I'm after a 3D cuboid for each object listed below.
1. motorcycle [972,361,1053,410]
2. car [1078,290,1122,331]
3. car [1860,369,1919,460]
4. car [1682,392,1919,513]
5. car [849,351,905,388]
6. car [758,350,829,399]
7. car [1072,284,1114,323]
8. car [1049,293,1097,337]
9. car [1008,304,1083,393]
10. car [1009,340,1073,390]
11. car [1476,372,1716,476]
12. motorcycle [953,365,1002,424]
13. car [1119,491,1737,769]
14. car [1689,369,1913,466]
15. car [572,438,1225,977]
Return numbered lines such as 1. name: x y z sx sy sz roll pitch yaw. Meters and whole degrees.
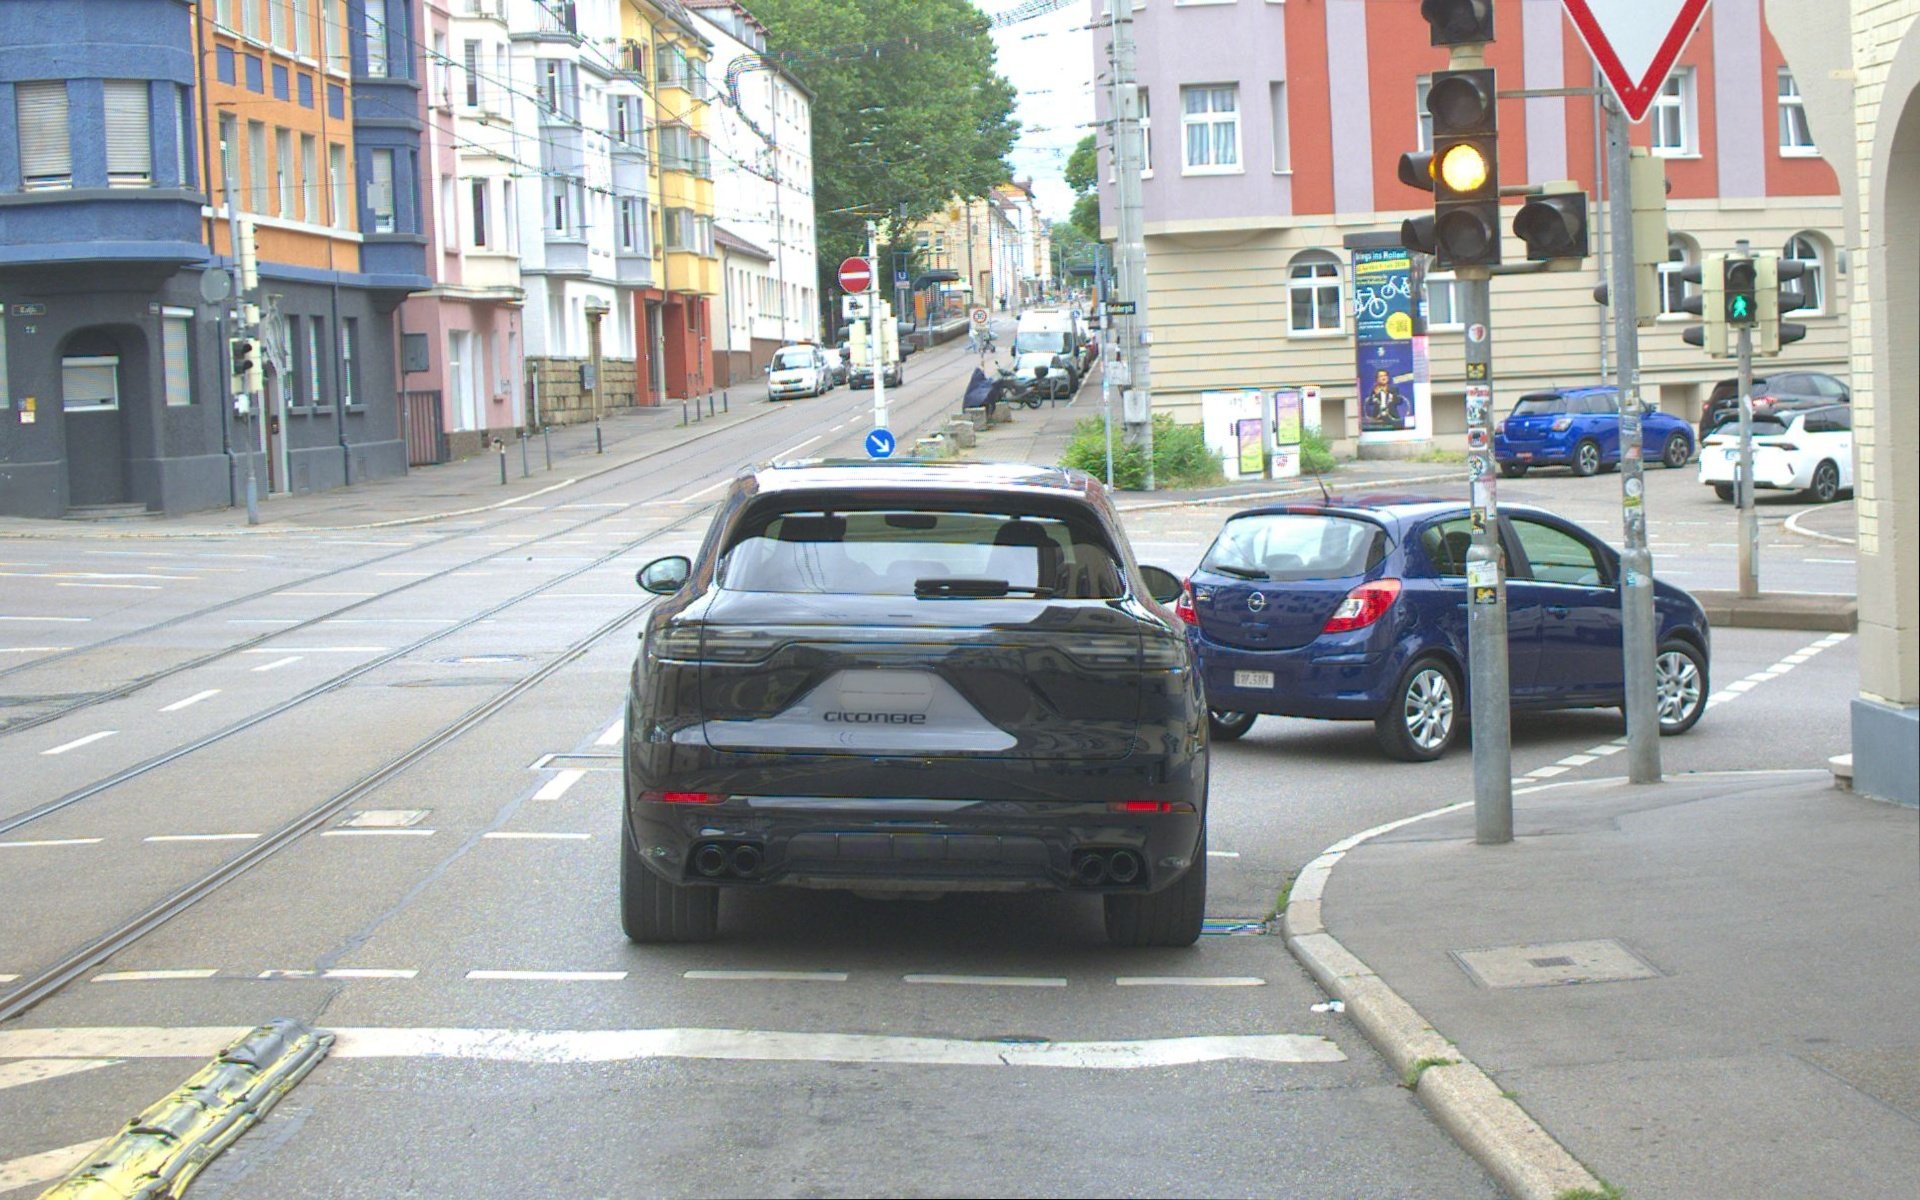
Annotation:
1. motorcycle: 1.463 -5.961 95.530 2.176 1.322 0.700 -1 4 -6
2. car: 7.703 -15.910 189.110 2.267 2.175 4.770 0 4 4
3. car: 19.413 -3.607 65.719 4.128 1.627 1.919 -5 7 -31
4. car: 12.782 -2.244 51.449 4.131 1.529 1.917 -7 8 -44
5. car: -3.008 -8.417 125.396 1.686 1.322 3.662 0 4 4
6. car: -5.831 -7.941 120.704 1.994 1.686 4.000 0 4 4
7. car: 7.574 -16.833 195.405 2.267 2.175 4.770 0 4 4
8. car: 5.791 -14.509 175.168 2.267 2.175 4.770 0 4 4
9. car: 2.866 -8.348 114.203 2.267 2.880 4.770 0 4 4
10. car: 2.593 -7.438 108.714 1.840 1.563 3.819 0 4 4
11. car: 10.944 -3.052 59.040 4.130 1.529 1.918 -6 8 -41
12. motorcycle: 0.422 -5.096 85.027 0.859 1.321 2.185 -7 5 -5
13. car: 2.887 0.109 20.733 1.759 1.442 3.742 6 5 44
14. car: 15.319 -3.352 62.536 4.130 1.529 1.918 -6 8 -40
15. car: -0.145 0.235 12.901 2.024 1.636 4.356 1 3 1
